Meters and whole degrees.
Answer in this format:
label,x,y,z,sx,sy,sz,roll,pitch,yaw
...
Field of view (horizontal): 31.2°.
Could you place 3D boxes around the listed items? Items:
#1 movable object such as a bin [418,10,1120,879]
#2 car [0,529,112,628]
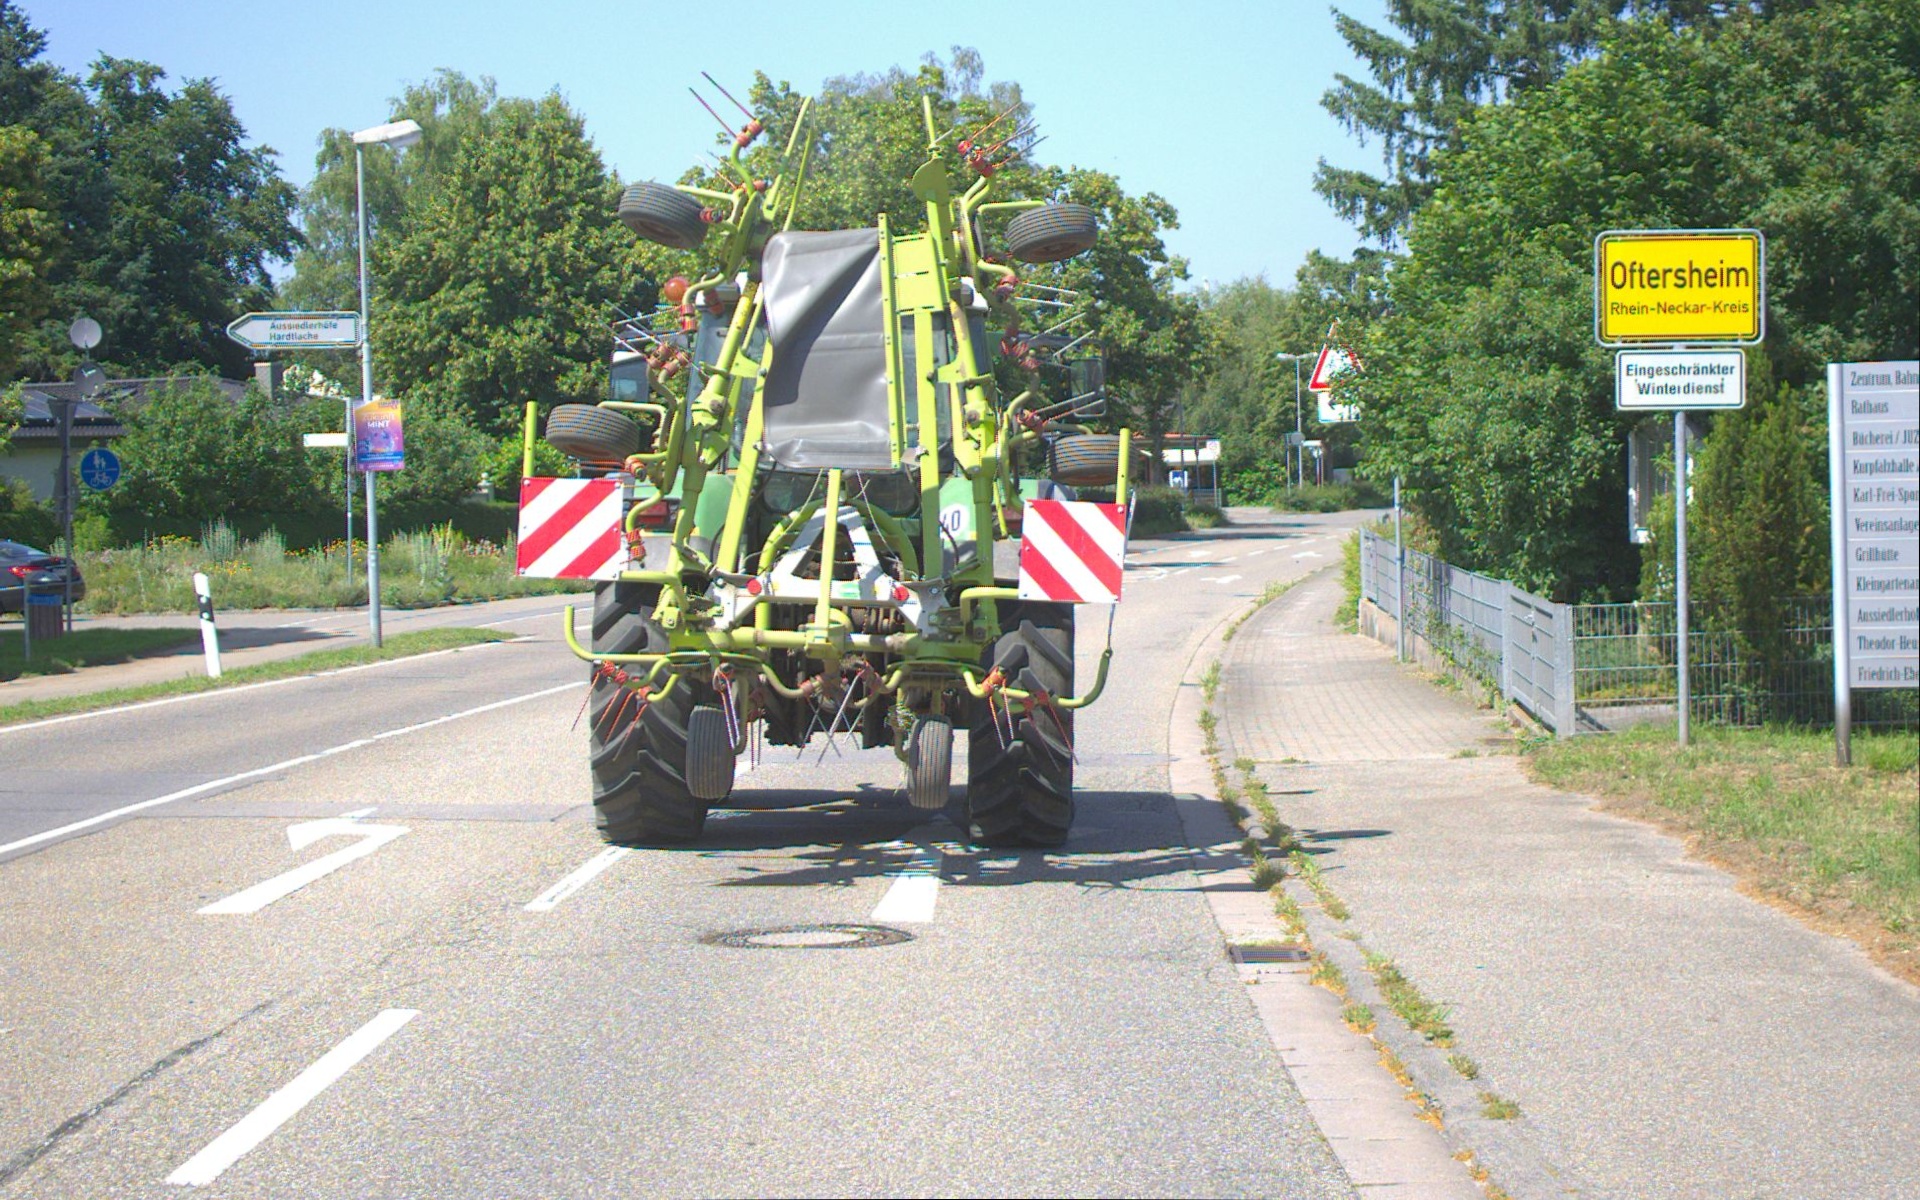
label,x,y,z,sx,sy,sz,roll,pitch,yaw
movable object such as a bin,-0.628,-0.770,18.893,2.853,3.529,9.701,0,2,2
car,-16.086,-0.317,55.579,4.089,1.514,1.999,-2,1,14
